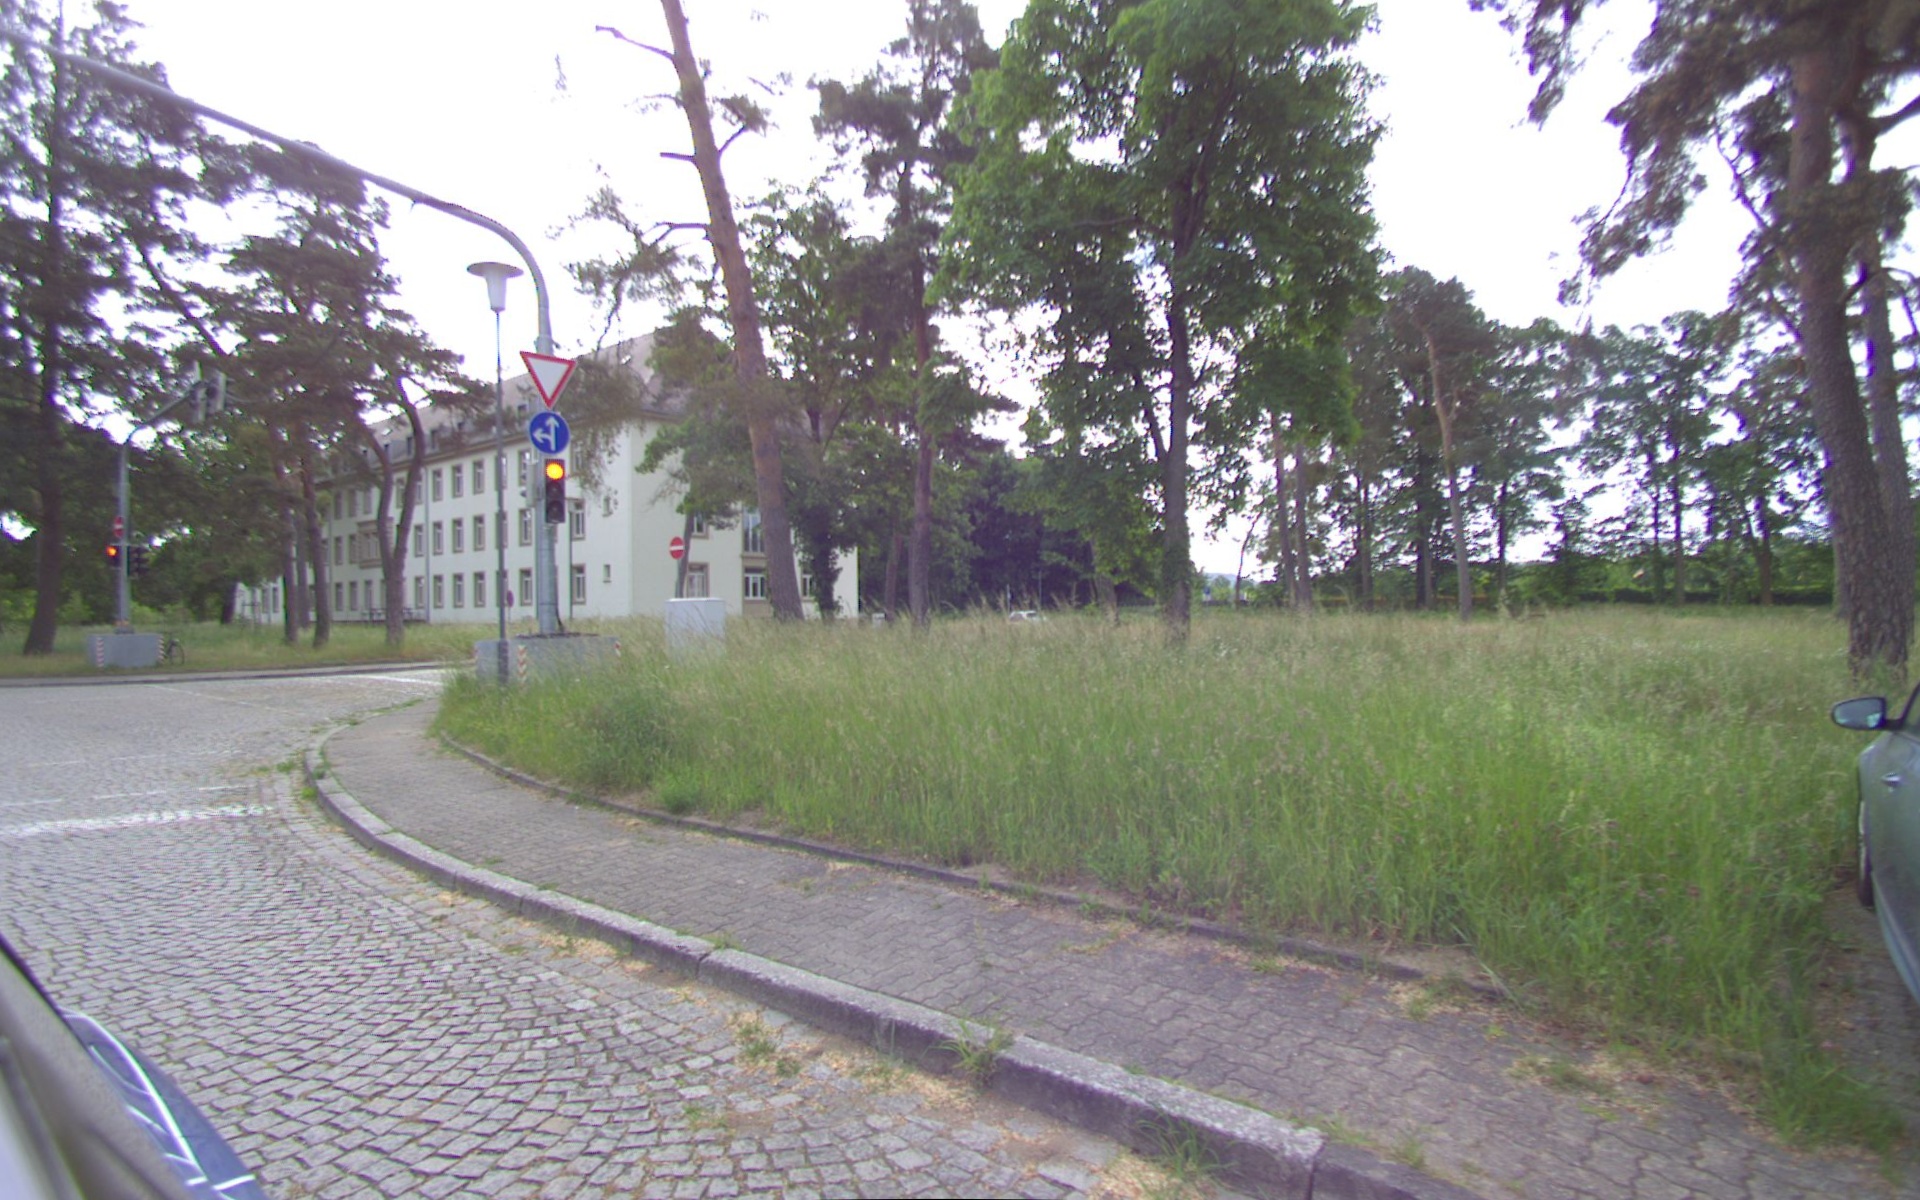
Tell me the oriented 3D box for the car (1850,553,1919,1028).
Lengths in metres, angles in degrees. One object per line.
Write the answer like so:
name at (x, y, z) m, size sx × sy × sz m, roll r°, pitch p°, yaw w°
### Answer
car at (4.091, 0.613, 3.006) m, size 1.903 × 1.554 × 3.949 m, roll -2°, pitch -1°, yaw 38°

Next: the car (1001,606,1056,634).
car at (4.819, 1.383, 70.645) m, size 1.722 × 1.820 × 3.944 m, roll -2°, pitch -1°, yaw 42°

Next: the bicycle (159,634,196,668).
bicycle at (-21.944, 1.438, 28.391) m, size 1.045 × 0.923 × 0.292 m, roll -1°, pitch -1°, yaw 18°
